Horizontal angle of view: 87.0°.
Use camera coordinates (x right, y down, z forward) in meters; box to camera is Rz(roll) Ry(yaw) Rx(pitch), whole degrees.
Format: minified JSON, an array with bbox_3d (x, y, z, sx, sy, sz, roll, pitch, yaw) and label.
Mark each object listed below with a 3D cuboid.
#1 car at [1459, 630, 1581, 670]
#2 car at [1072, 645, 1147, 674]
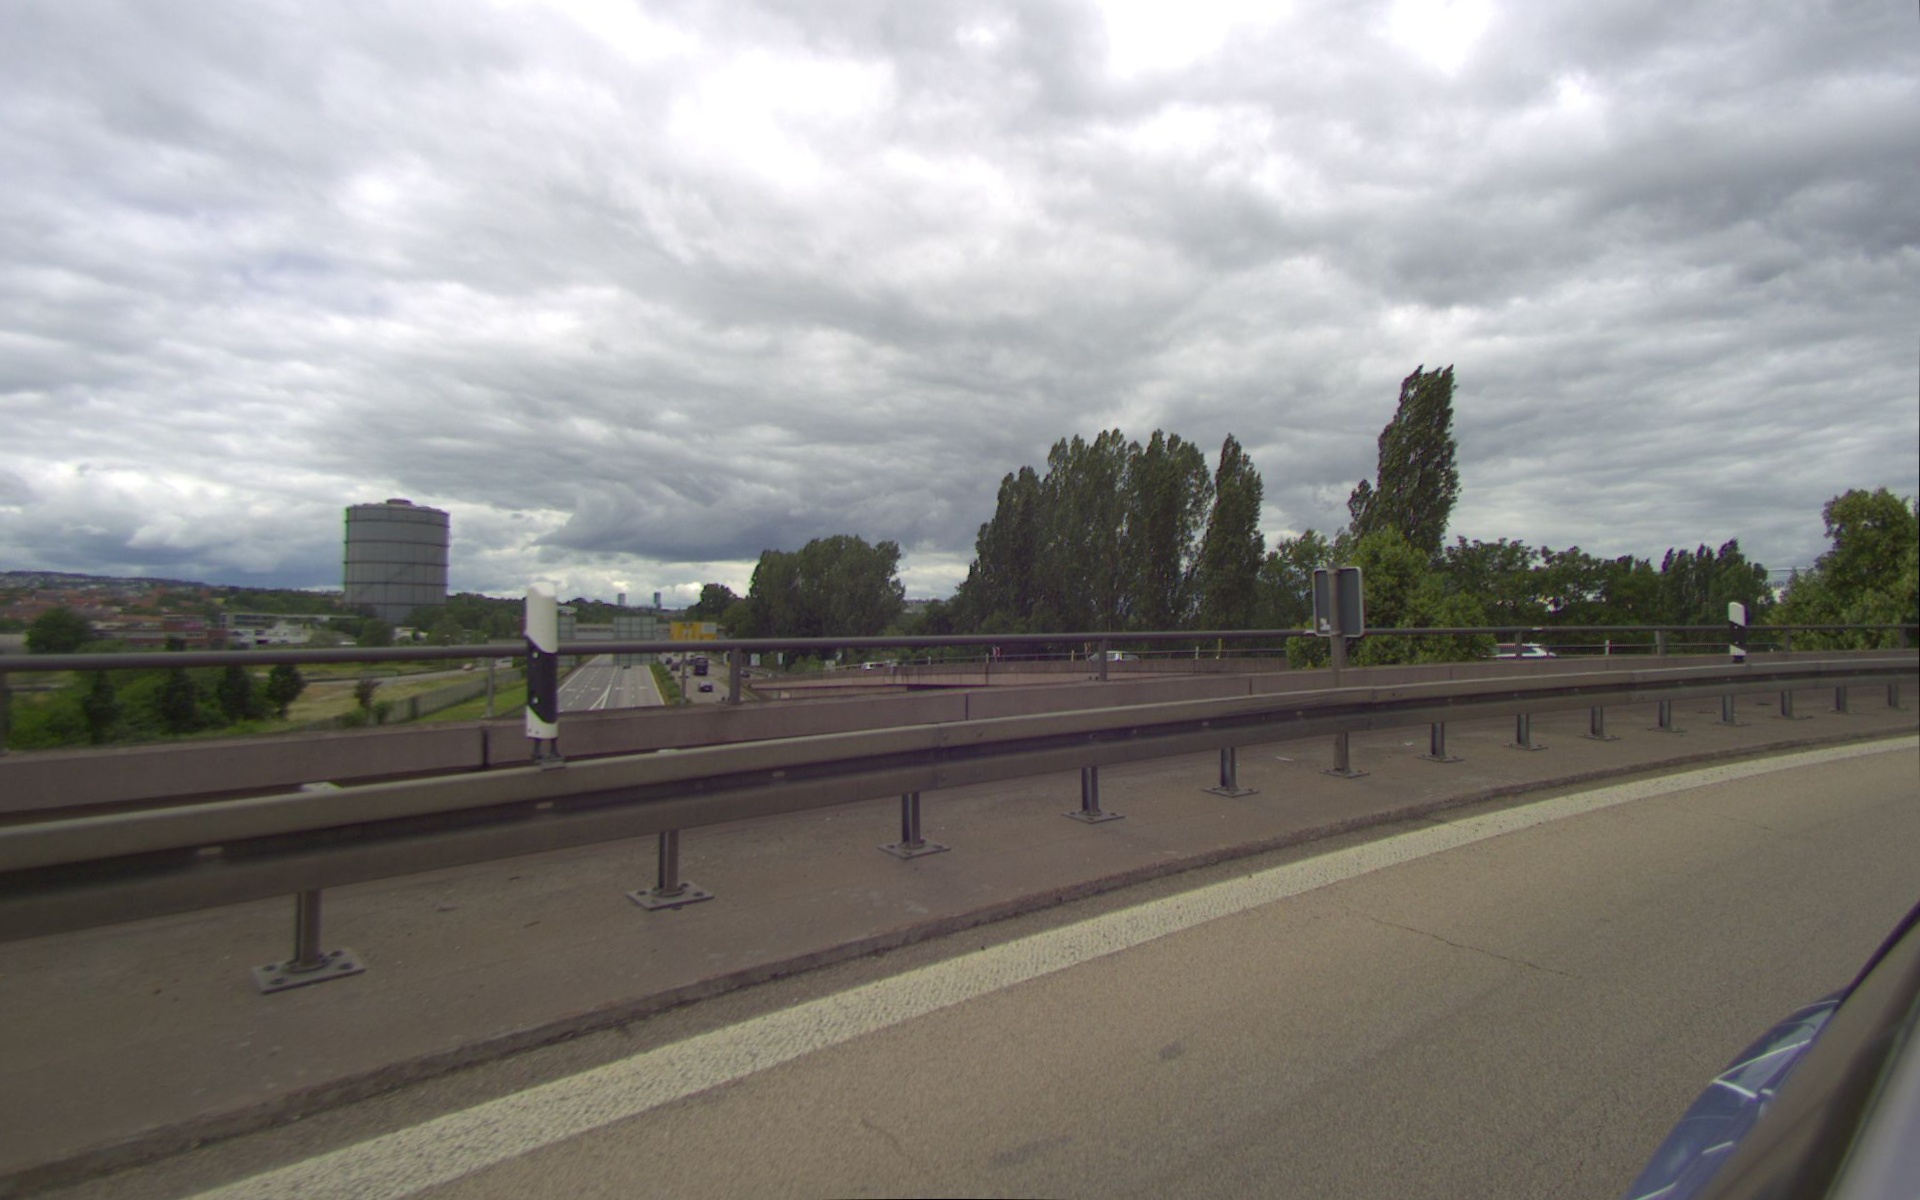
[{"bbox_3d":[21.499,1.954,38.932,3.909,1.428,1.767,-3,-6,36],"label":"car"},{"bbox_3d":[7.895,3.180,53.825,1.703,1.500,3.999,3,-5,-33],"label":"car"}]
